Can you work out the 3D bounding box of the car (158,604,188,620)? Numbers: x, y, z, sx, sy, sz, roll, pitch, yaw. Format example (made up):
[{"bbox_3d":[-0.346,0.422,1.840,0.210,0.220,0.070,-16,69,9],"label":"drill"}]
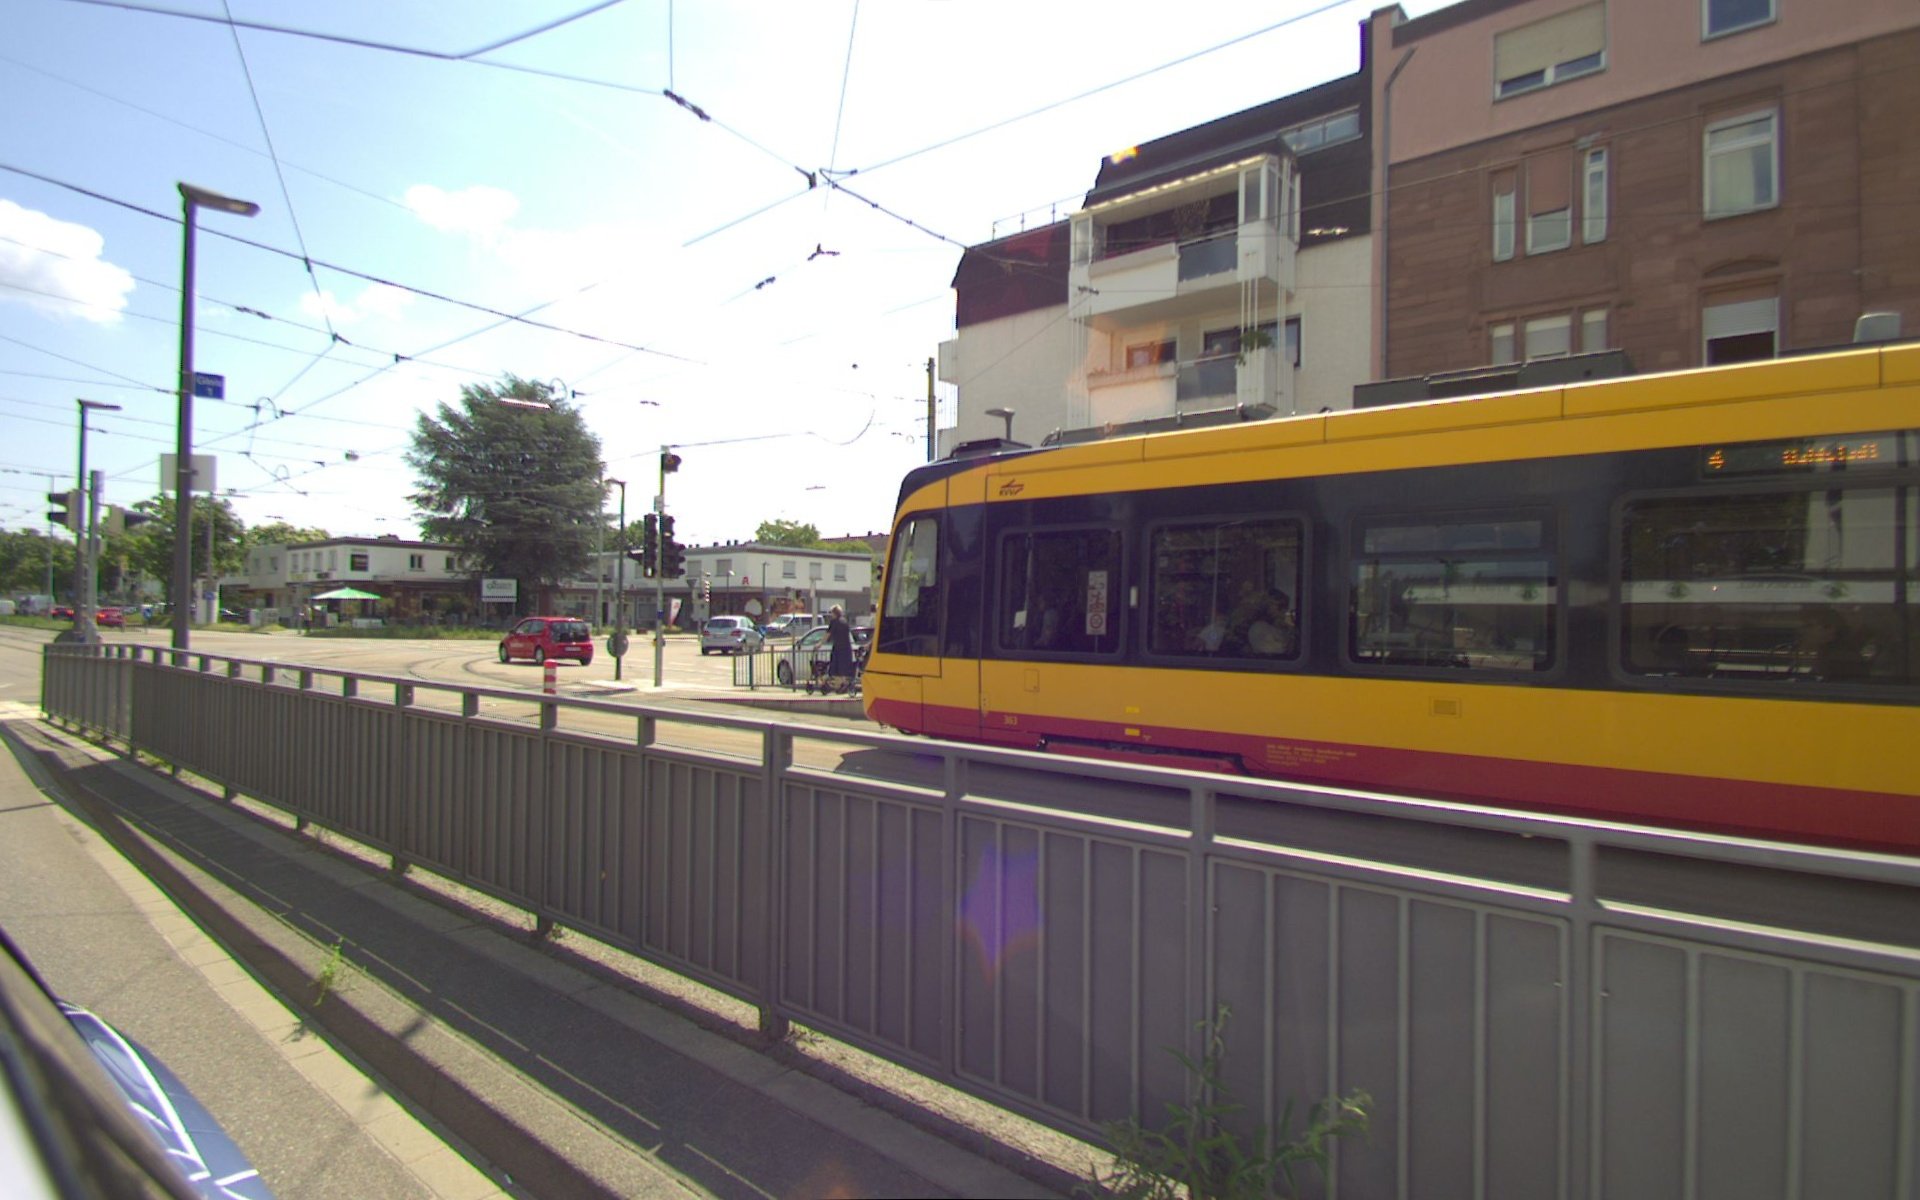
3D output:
[{"bbox_3d":[-88.065,1.376,113.224,3.996,1.706,1.723,0,-2,39],"label":"car"}]

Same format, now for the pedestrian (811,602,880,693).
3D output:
[{"bbox_3d":[-2.024,0.825,17.953,0.919,1.572,0.777,0,-2,40],"label":"pedestrian"}]

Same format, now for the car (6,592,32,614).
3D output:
[{"bbox_3d":[-116.661,0.396,125.474,3.996,2.608,1.723,0,-2,39],"label":"car"}]

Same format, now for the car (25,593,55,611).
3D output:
[{"bbox_3d":[-105.438,0.250,115.989,3.996,1.980,1.942,0,-2,39],"label":"car"}]

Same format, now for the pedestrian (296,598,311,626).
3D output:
[{"bbox_3d":[-43.347,0.789,66.801,0.679,1.788,0.485,1,3,21],"label":"pedestrian"}]

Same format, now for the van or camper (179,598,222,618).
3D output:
[{"bbox_3d":[-121.802,1.321,162.241,2.245,3.141,5.092,0,-2,40],"label":"van or camper"}]

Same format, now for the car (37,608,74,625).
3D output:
[{"bbox_3d":[-77.224,1.417,86.417,3.997,1.364,1.761,0,-2,40],"label":"car"}]

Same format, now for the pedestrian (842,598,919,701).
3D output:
[{"bbox_3d":[-1.262,0.764,16.080,0.919,1.572,0.777,0,-2,40],"label":"pedestrian"}]

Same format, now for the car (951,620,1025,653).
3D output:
[{"bbox_3d":[1.711,2.183,59.580,1.997,1.853,4.760,-1,-3,37],"label":"car"}]

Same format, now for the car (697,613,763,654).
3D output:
[{"bbox_3d":[-9.644,1.410,42.808,1.716,1.628,4.604,1,-2,0],"label":"car"}]

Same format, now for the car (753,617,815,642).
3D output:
[{"bbox_3d":[-12.567,2.119,72.440,1.998,1.741,3.946,0,-2,40],"label":"car"}]

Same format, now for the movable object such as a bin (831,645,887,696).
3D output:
[{"bbox_3d":[-1.648,1.140,16.537,0.619,0.786,0.668,0,-2,39],"label":"movable object such as a bin"}]

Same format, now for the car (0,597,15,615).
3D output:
[{"bbox_3d":[-101.393,0.606,106.670,4.548,1.890,1.841,0,-2,37],"label":"car"}]

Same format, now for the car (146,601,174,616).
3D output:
[{"bbox_3d":[-92.185,0.995,116.633,3.996,1.706,1.723,0,-2,39],"label":"car"}]

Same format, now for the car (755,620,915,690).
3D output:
[{"bbox_3d":[-2.981,1.259,23.708,3.788,1.467,1.633,0,-4,42],"label":"car"}]

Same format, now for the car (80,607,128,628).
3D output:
[{"bbox_3d":[-62.513,1.284,73.891,4.819,1.461,1.972,0,-2,41],"label":"car"}]

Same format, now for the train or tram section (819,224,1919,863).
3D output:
[{"bbox_3d":[7.227,-0.270,6.209,20.488,3.594,3.217,0,-2,41],"label":"train or tram section"}]

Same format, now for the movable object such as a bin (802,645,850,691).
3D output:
[{"bbox_3d":[-2.407,1.211,18.192,0.537,0.786,0.668,0,-2,39],"label":"movable object such as a bin"}]

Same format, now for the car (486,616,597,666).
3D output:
[{"bbox_3d":[-13.114,1.246,31.625,3.851,1.456,1.637,0,-2,41],"label":"car"}]
